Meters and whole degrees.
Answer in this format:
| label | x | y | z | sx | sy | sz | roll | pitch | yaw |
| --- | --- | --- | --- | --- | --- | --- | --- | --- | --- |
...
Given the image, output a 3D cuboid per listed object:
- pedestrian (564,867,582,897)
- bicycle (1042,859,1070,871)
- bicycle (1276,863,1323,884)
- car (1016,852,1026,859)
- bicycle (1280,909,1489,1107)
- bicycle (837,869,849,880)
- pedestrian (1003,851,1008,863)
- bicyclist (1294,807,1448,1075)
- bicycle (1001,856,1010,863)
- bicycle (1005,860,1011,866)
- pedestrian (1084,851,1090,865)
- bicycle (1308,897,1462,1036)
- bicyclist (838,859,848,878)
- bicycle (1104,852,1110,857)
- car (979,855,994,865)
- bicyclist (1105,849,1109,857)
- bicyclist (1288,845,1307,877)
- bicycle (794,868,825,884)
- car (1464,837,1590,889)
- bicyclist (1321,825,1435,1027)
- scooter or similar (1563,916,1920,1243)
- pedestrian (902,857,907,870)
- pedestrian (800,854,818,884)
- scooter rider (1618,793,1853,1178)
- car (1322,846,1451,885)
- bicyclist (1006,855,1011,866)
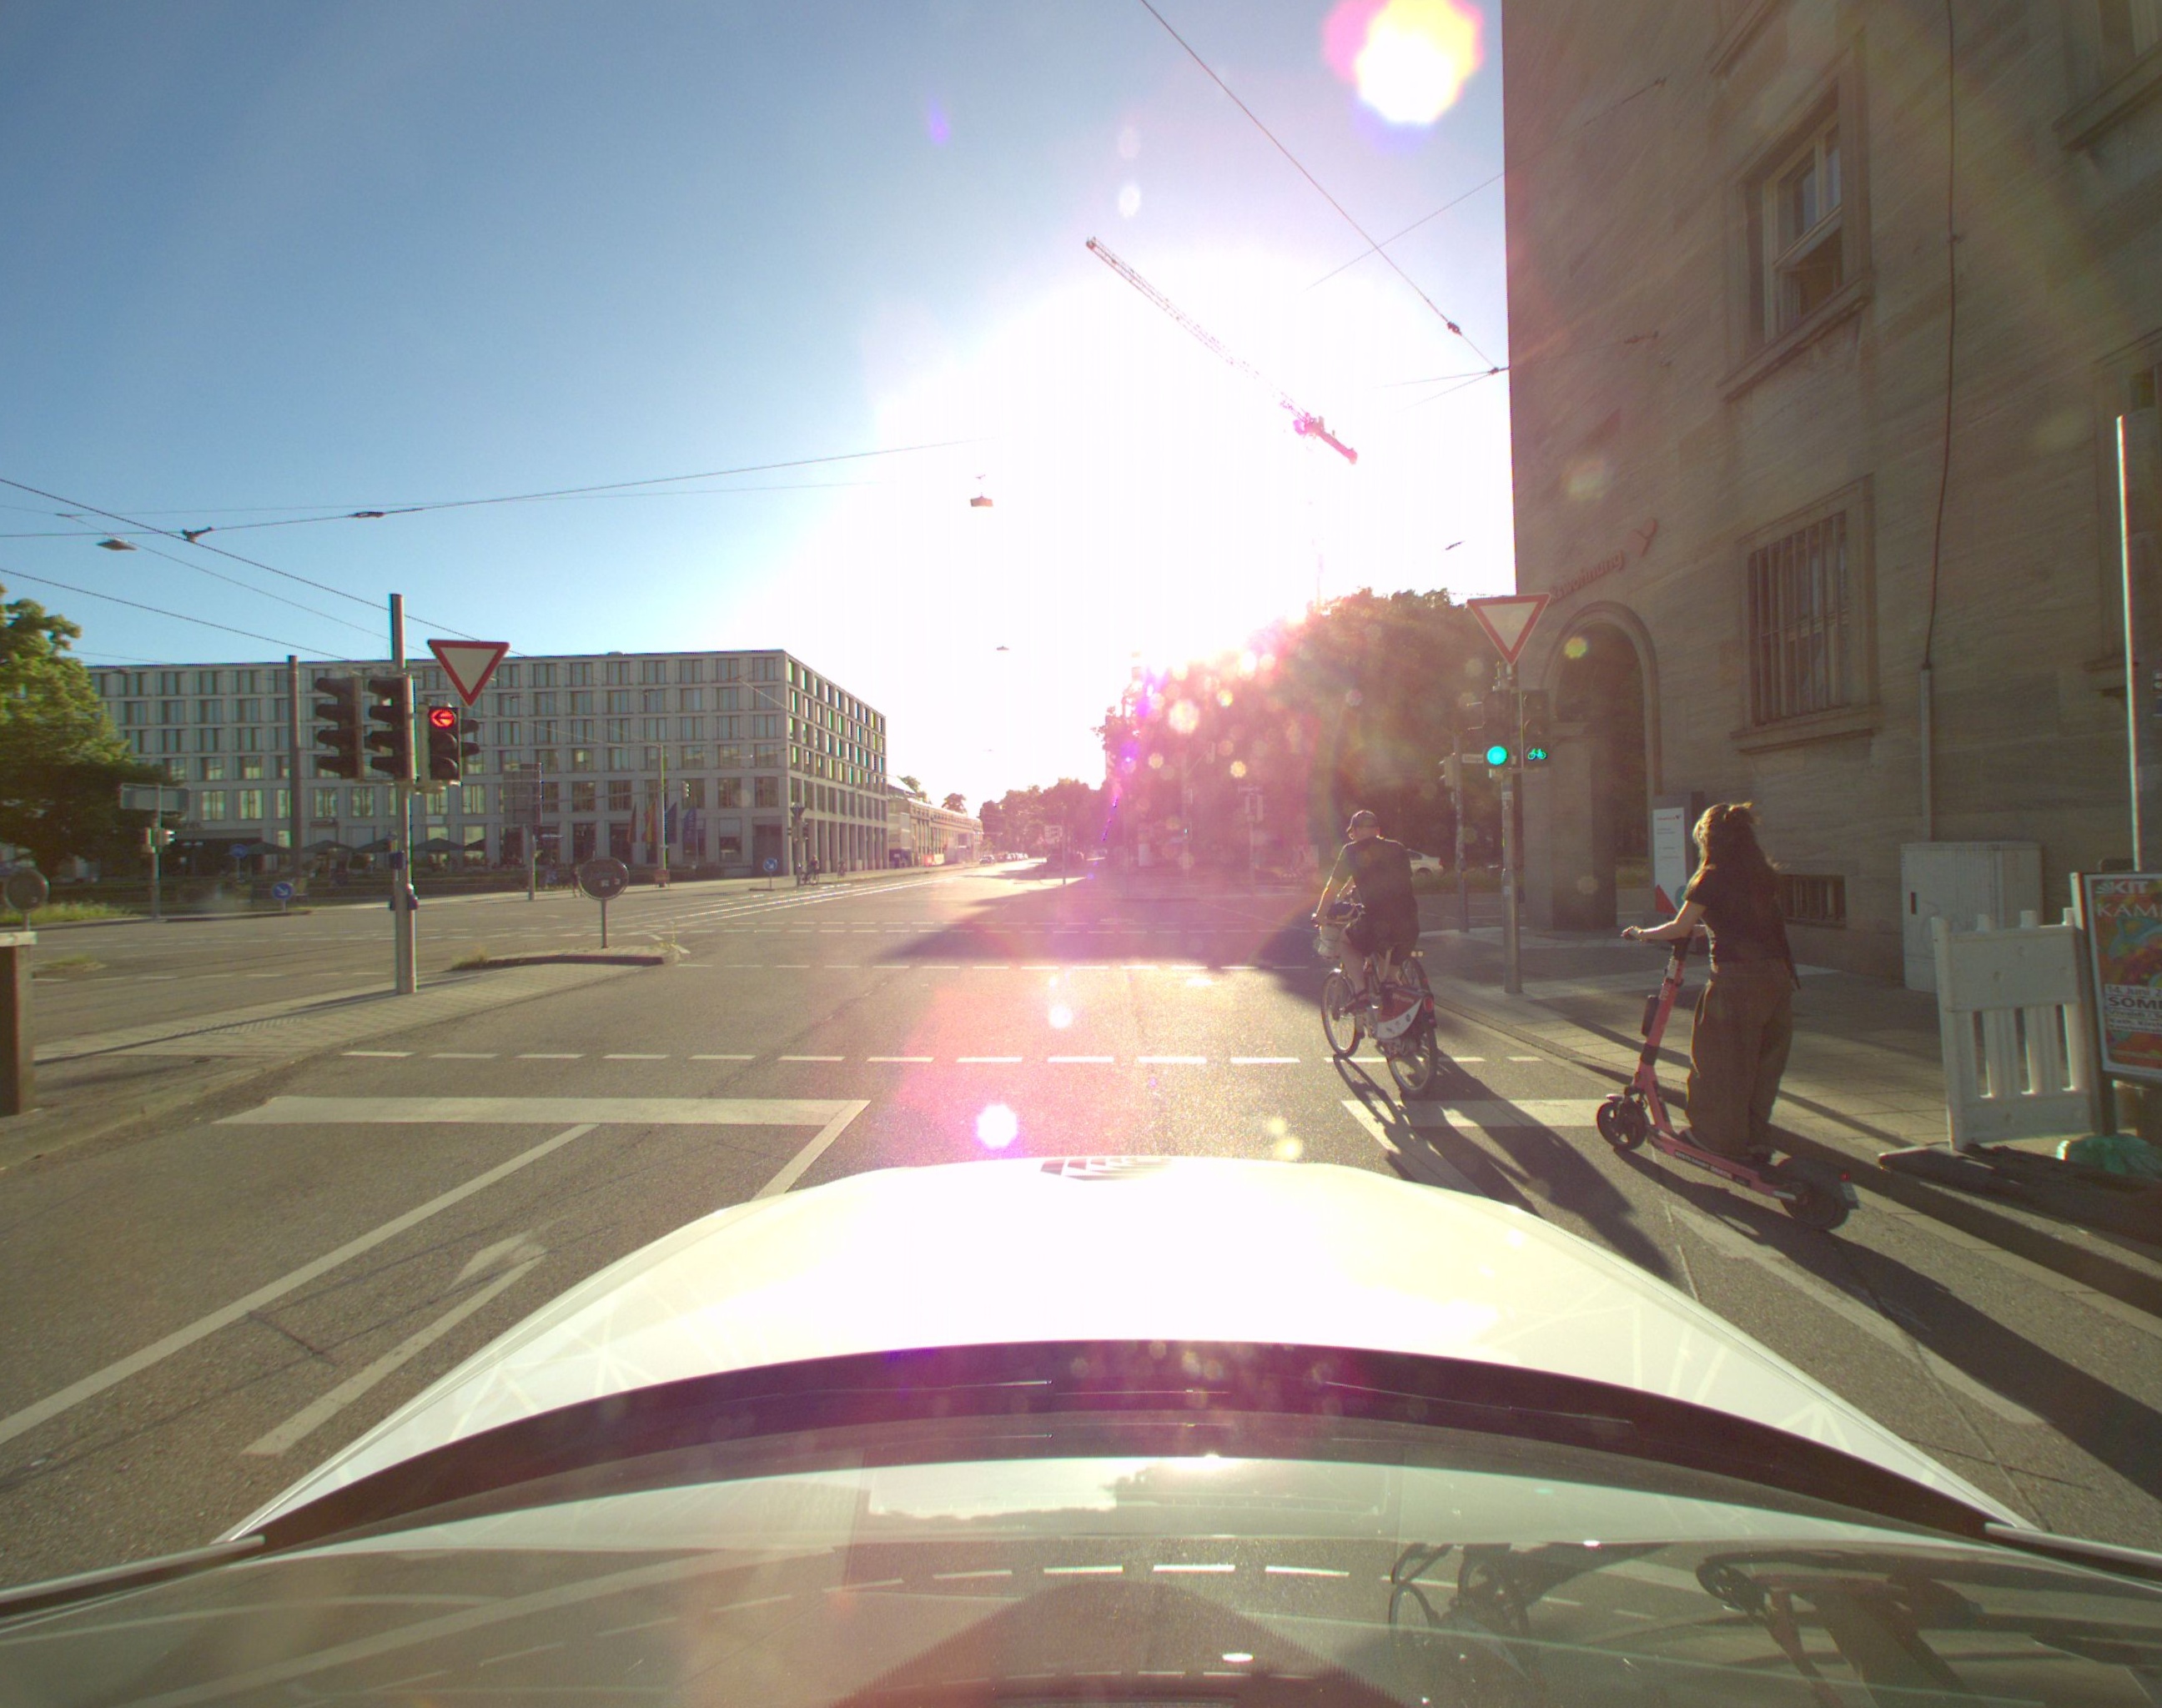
| label | x | y | z | sx | sy | sz | roll | pitch | yaw |
| --- | --- | --- | --- | --- | --- | --- | --- | --- | --- |
| pedestrian | -28.265 | 1.551 | 45.343 | 0.598 | 1.681 | 0.610 | -2 | 0 | 33 |
| bicycle | -2.094 | 0.896 | 67.392 | 2.240 | 0.940 | 0.653 | -2 | 0 | -4 |
| bicycle | 9.718 | 0.857 | 36.247 | 1.932 | 0.889 | 0.719 | -1 | -1 | 8 |
| car | -14.424 | 0.355 | 195.293 | 1.988 | 1.644 | 3.998 | -2 | 0 | -1 |
| bicycle | 2.036 | 0.980 | 5.751 | 0.622 | 1.044 | 1.742 | -2 | 0 | -7 |
| bicycle | -18.637 | 1.597 | 63.853 | 0.492 | 0.839 | 1.158 | -2 | 0 | 4 |
| pedestrian | -13.195 | 0.546 | 142.595 | 0.746 | 2.063 | 1.052 | 0 | -1 | 7 |
| bicyclist | 2.013 | 0.560 | 5.751 | 0.623 | 1.715 | 0.910 | -2 | 0 | -9 |
| bicycle | -13.194 | 0.992 | 142.521 | 0.746 | 1.205 | 3.114 | 0 | -1 | 7 |
| bicycle | -13.250 | 1.619 | 148.443 | 0.748 | 1.205 | 3.108 | 0 | -1 | 1 |
| pedestrian | 0.704 | 0.516 | 97.650 | 0.576 | 1.689 | 0.584 | -2 | 0 | -6 |
| bicycle | 2.755 | 0.970 | 7.586 | 0.581 | 1.044 | 1.743 | -2 | 0 | -7 |
| bicyclist | -18.648 | 1.146 | 63.826 | 0.492 | 1.498 | 0.667 | -2 | 0 | 4 |
| bicycle | 6.469 | 0.202 | 200.550 | 0.890 | 1.219 | 2.784 | 0 | -1 | -9 |
| car | -15.780 | 0.932 | 136.335 | 1.988 | 1.599 | 3.998 | -2 | 0 | -1 |
| bicyclist | 6.468 | -0.190 | 200.494 | 0.891 | 2.014 | 0.746 | 0 | -1 | -10 |
| bicyclist | 9.626 | 0.294 | 36.260 | 0.742 | 1.406 | 0.704 | -1 | -1 | 8 |
| bicycle | -14.808 | 1.220 | 44.445 | 1.696 | 0.823 | 0.577 | -2 | 0 | 29 |
| car | 17.888 | 0.376 | 32.820 | 3.970 | 2.014 | 2.002 | 0 | -1 | 3 |
| bicyclist | 2.743 | 0.626 | 7.598 | 0.583 | 1.738 | 0.947 | -2 | 0 | -8 |
| scooter or similar | 2.914 | 0.909 | 3.762 | 0.571 | 1.149 | 1.270 | -1 | -1 | -3 |
| pedestrian | -25.973 | 1.337 | 119.780 | 0.585 | 1.889 | 0.478 | 0 | -1 | 1 |
| pedestrian | -14.841 | 0.830 | 44.467 | 0.735 | 1.595 | 0.577 | -2 | 0 | 29 |
| scooter rider | 2.881 | 0.538 | 3.636 | 0.543 | 1.562 | 0.576 | -1 | -1 | -3 |
| car | 12.441 | 0.475 | 33.379 | 4.559 | 1.516 | 2.001 | 0 | -1 | 1 |
| bicyclist | -13.268 | 1.222 | 148.328 | 0.748 | 1.920 | 1.214 | 0 | -1 | 1 |
